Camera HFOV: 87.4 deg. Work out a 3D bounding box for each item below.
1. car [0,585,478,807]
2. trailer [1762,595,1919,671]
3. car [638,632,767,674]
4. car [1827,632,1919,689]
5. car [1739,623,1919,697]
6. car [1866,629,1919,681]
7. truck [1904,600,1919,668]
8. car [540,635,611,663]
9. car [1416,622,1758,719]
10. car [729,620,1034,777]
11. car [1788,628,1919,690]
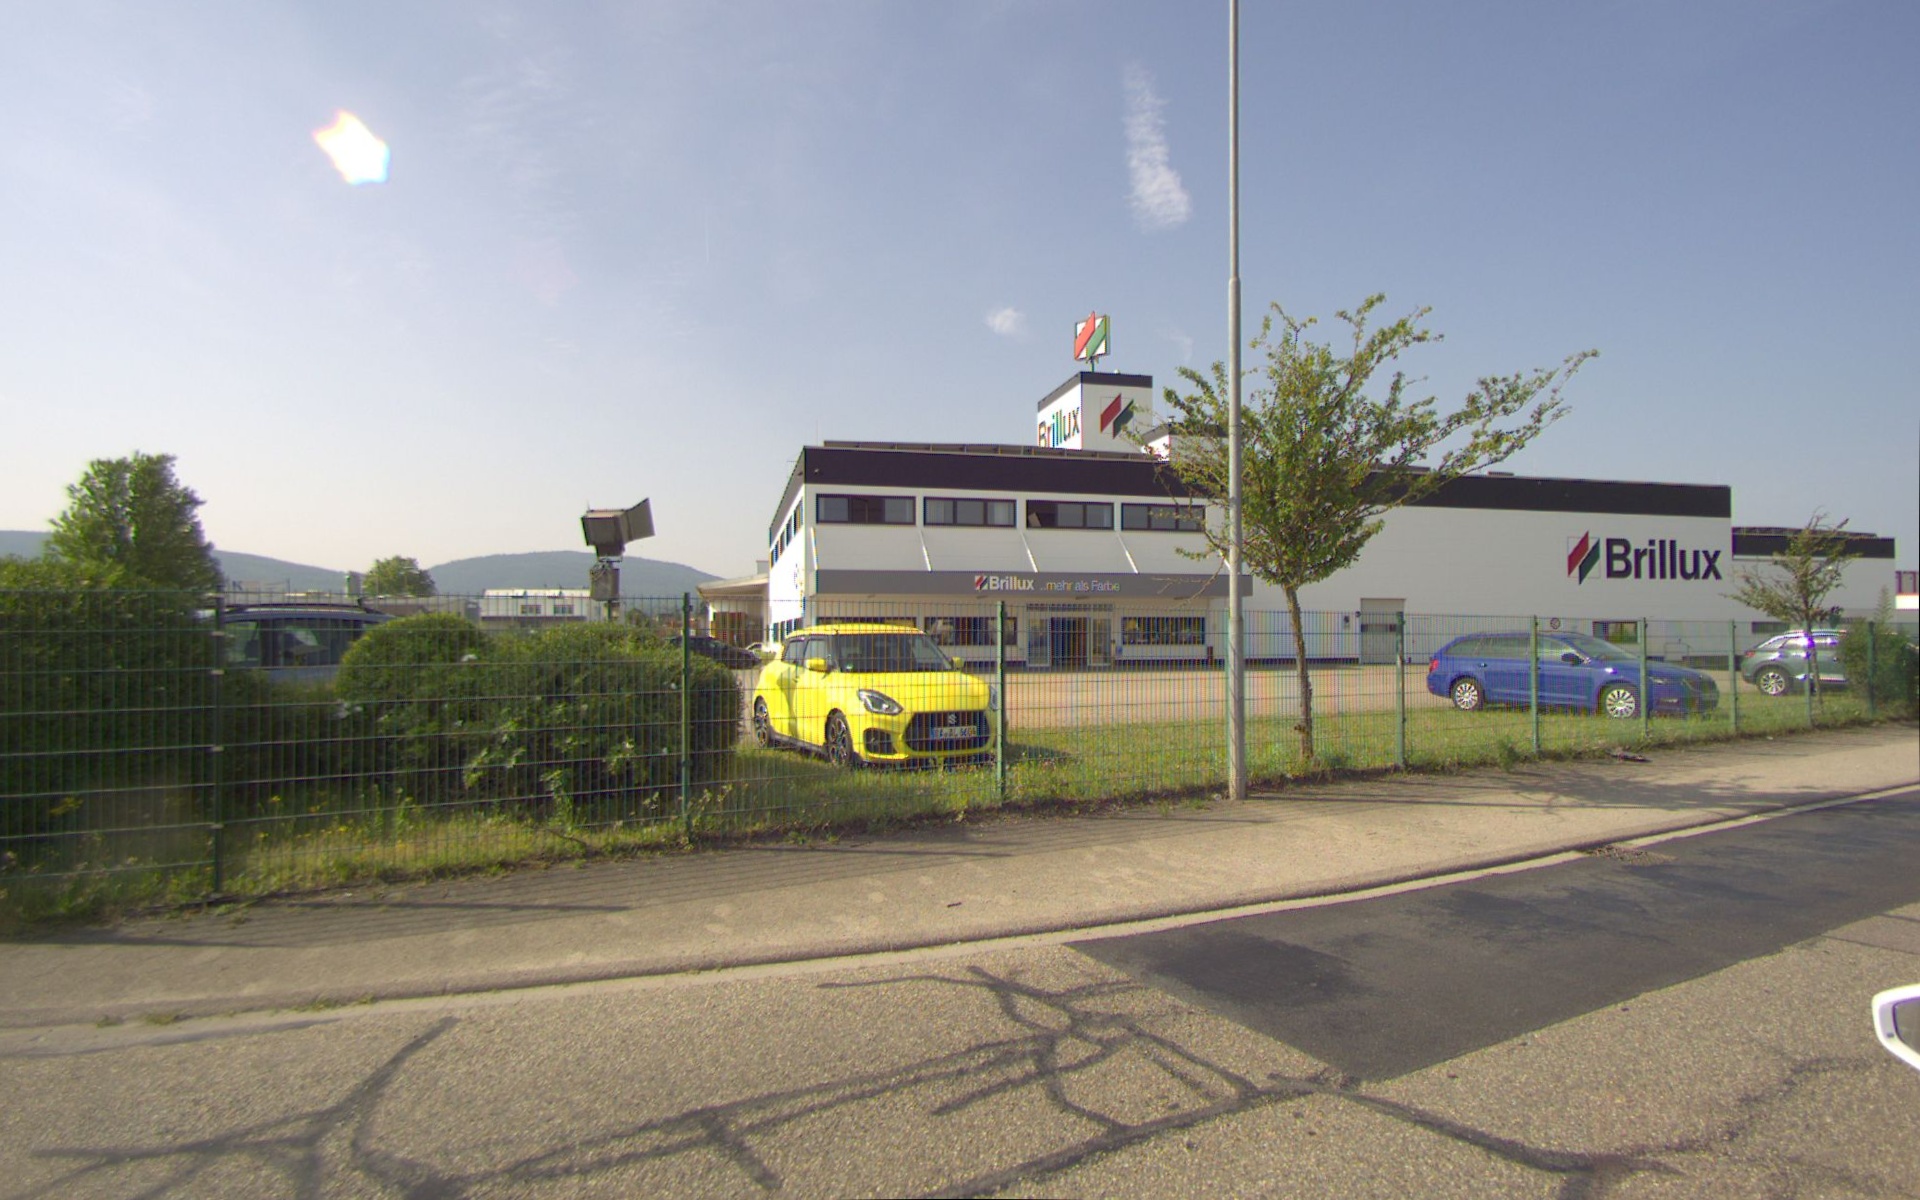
[{"bbox_3d":[-7.444,0.773,10.081,1.920,1.718,4.509,2,-1,24],"label":"car"},{"bbox_3d":[53.836,2.020,59.261,13.656,4.095,2.482,2,0,-15],"label":"trailer"},{"bbox_3d":[-11.027,2.256,43.178,5.008,1.724,1.982,2,-3,-34],"label":"car"},{"bbox_3d":[25.390,1.553,26.021,1.852,1.463,4.022,1,-4,-30],"label":"car"},{"bbox_3d":[20.742,1.374,23.066,1.843,1.588,4.108,1,-4,-30],"label":"car"},{"bbox_3d":[28.406,1.514,28.186,1.852,1.463,4.022,1,-4,-30],"label":"car"},{"bbox_3d":[60.915,2.174,61.145,5.452,4.125,2.513,2,0,-15],"label":"truck"},{"bbox_3d":[-24.289,3.054,63.434,3.953,1.728,1.777,1,-2,-30],"label":"car"},{"bbox_3d":[10.753,1.211,17.633,2.054,1.463,4.664,1,-4,-30],"label":"car"},{"bbox_3d":[-1.077,0.962,11.180,1.846,1.386,4.146,1,-3,-29],"label":"car"},{"bbox_3d":[23.399,1.457,24.908,1.852,1.463,4.022,1,-4,-30],"label":"car"}]
